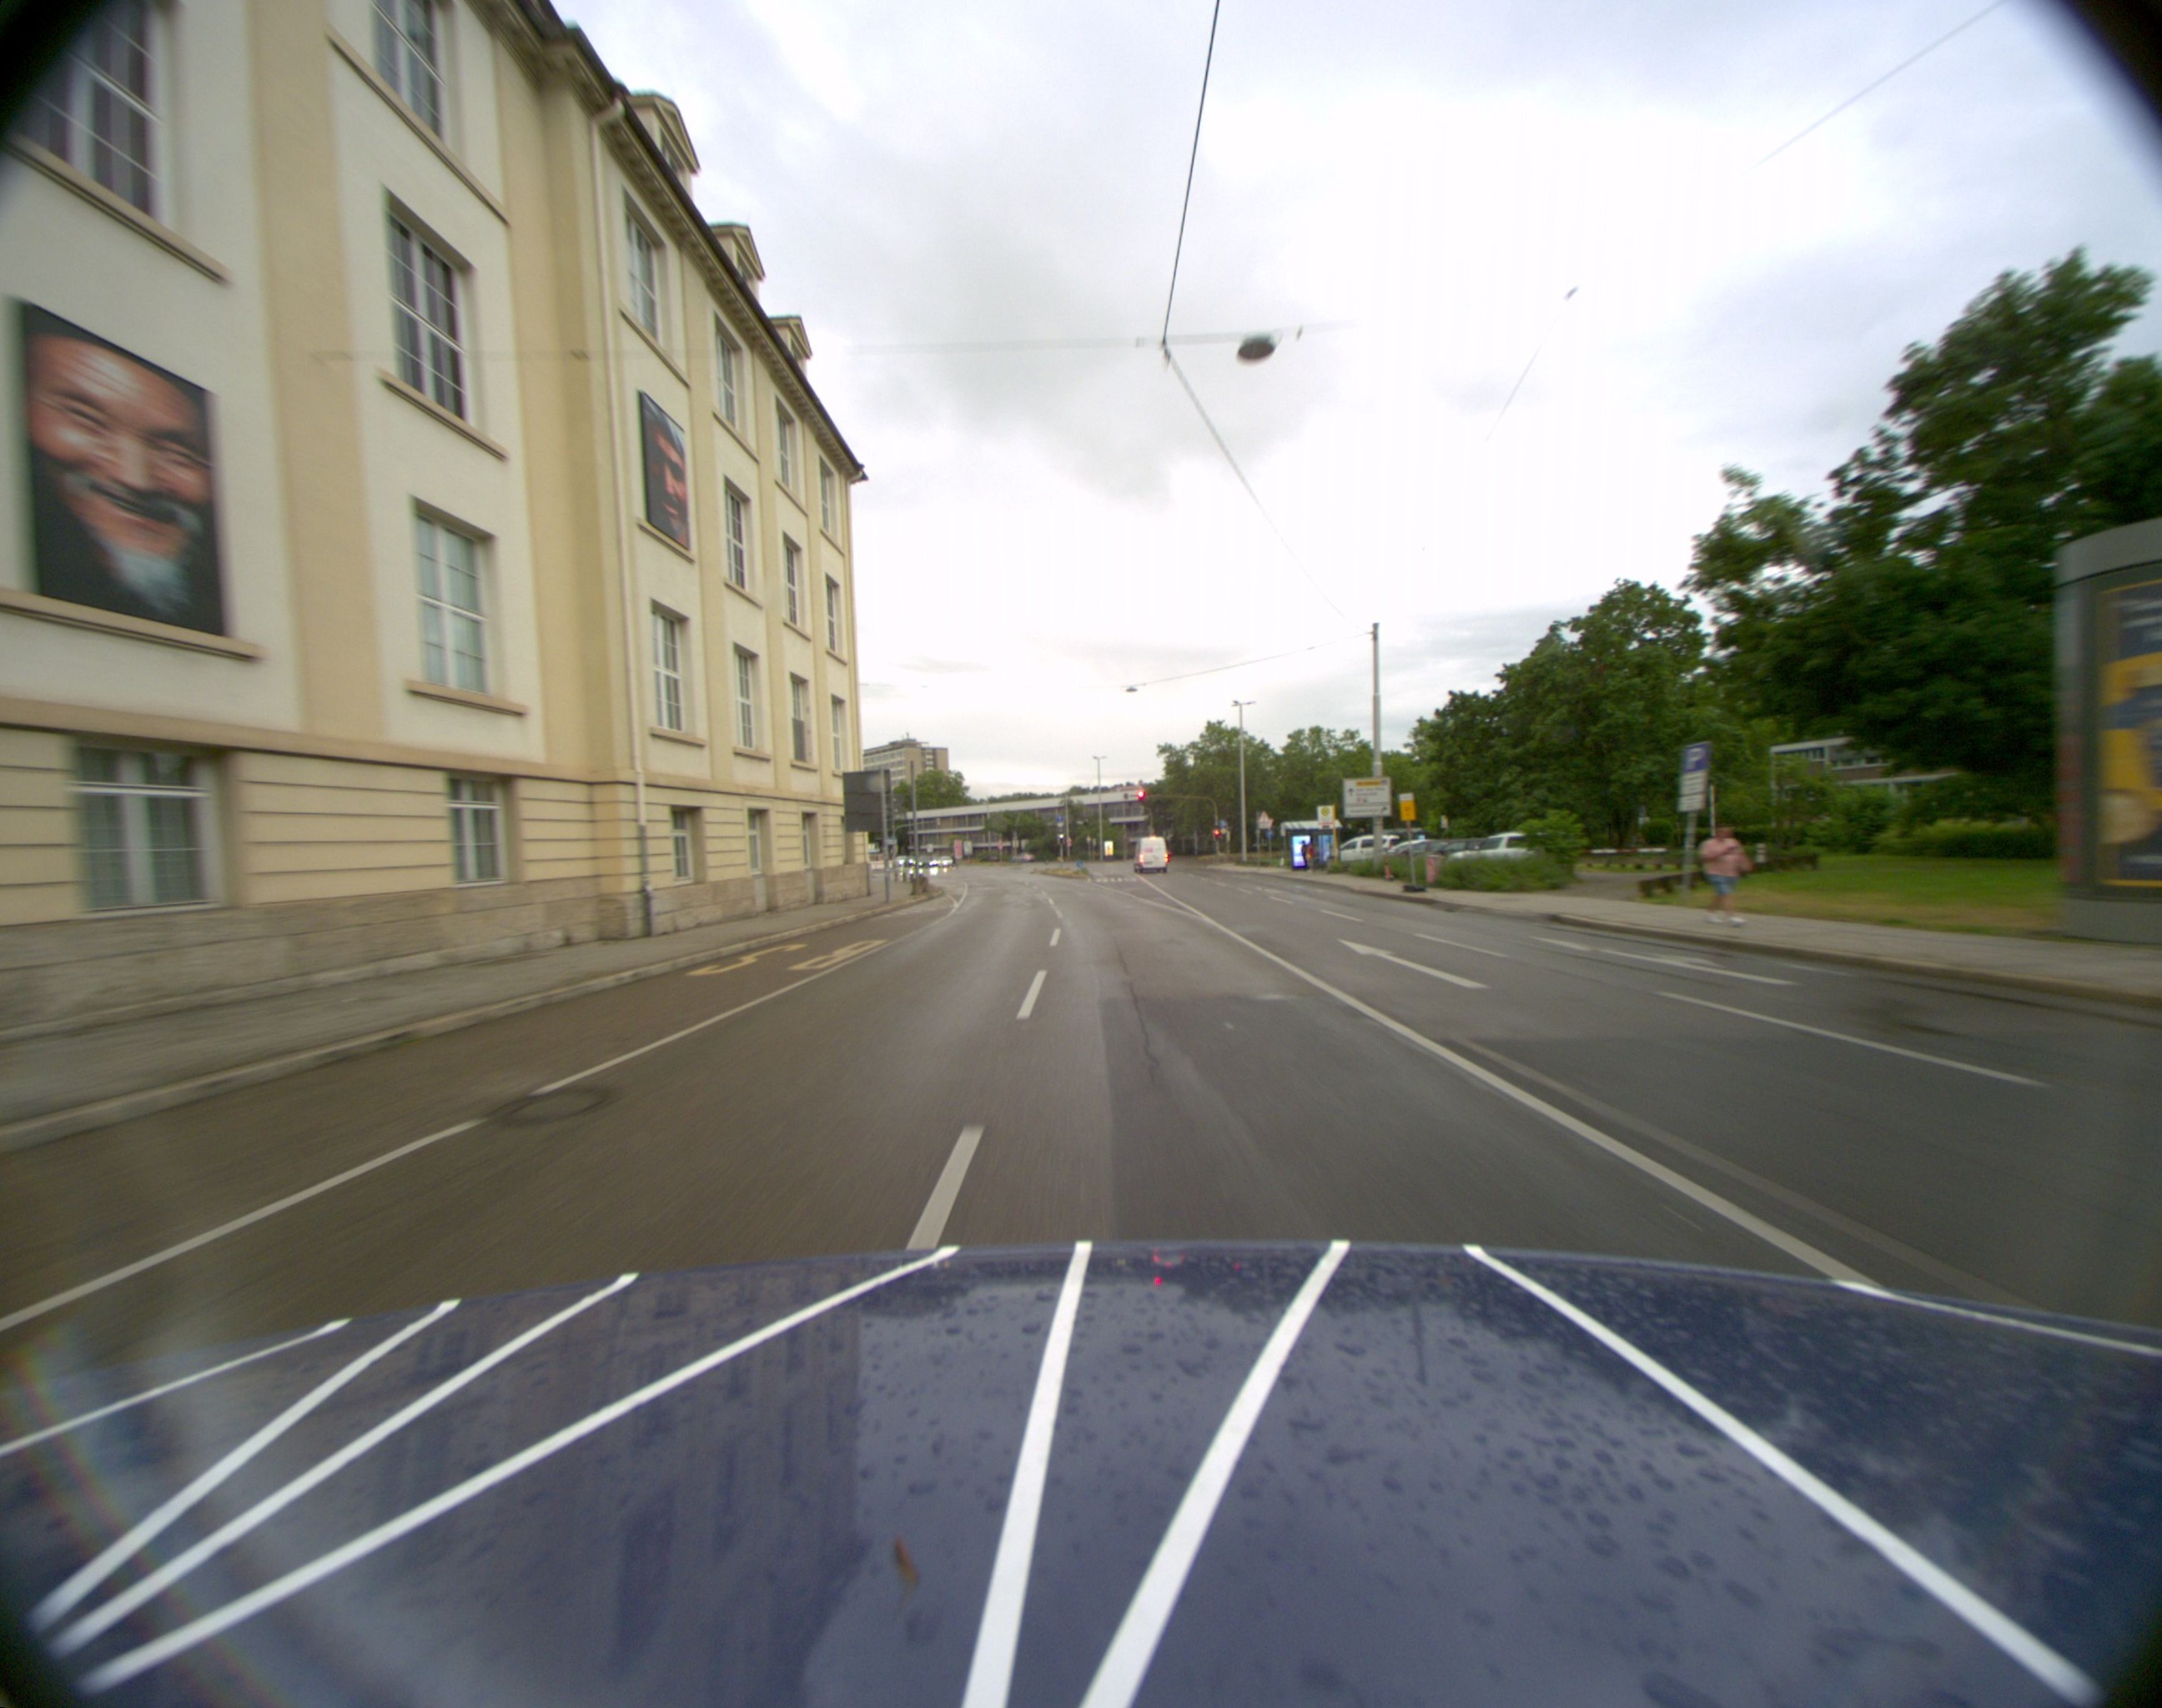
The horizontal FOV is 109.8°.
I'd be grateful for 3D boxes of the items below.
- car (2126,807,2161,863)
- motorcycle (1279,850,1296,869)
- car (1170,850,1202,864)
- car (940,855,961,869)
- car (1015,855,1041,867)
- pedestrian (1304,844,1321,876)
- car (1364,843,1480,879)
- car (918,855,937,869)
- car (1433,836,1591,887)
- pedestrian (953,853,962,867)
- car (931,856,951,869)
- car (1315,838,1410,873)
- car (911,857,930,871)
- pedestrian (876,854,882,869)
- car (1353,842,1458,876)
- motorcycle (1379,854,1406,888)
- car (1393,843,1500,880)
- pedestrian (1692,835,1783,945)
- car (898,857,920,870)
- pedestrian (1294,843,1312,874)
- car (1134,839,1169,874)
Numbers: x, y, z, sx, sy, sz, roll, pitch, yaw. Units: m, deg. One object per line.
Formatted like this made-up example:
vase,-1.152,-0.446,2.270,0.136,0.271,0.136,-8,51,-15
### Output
car,57.287,-1.105,37.863,6.206,2.745,2.740,-3,1,5
motorcycle,13.977,0.396,51.460,0.516,1.240,1.266,-4,1,-13
car,14.954,0.373,107.840,4.339,1.900,2.079,-1,0,13
car,-18.159,1.114,105.750,2.079,1.900,4.555,-1,0,-20
car,-8.678,1.095,123.109,2.081,1.900,4.335,-2,0,-38
pedestrian,12.685,0.310,41.585,0.629,1.686,0.642,-3,1,-7
car,15.195,0.307,33.928,4.573,1.341,1.907,-3,1,26
car,-21.276,1.146,105.241,1.886,1.857,4.340,-1,0,-20
car,15.290,0.273,27.230,1.871,1.600,4.516,-4,1,-32
pedestrian,-15.866,0.738,97.542,0.903,1.786,0.541,-3,1,-4
car,-20.603,1.302,111.440,2.079,1.816,4.555,-1,0,-20
car,16.293,0.102,44.146,4.711,1.745,2.020,-3,1,43
car,-23.630,1.431,111.505,2.079,1.900,4.555,-1,0,-20
pedestrian,-27.918,1.010,105.022,0.644,2.002,0.594,-2,1,-23
car,15.571,0.243,36.551,4.369,1.341,1.908,-3,1,31
motorcycle,11.981,0.642,29.291,0.516,1.240,1.267,-3,1,2
car,15.027,0.322,31.309,3.588,1.341,1.846,-3,1,40
pedestrian,10.507,0.546,12.196,0.671,1.677,0.914,-3,1,8
car,-26.909,1.429,118.497,2.080,1.900,4.552,-1,0,-30
pedestrian,12.414,0.262,42.453,0.685,1.686,0.672,-3,1,-7
car,5.321,0.185,57.742,1.988,2.514,5.631,-1,0,-1
